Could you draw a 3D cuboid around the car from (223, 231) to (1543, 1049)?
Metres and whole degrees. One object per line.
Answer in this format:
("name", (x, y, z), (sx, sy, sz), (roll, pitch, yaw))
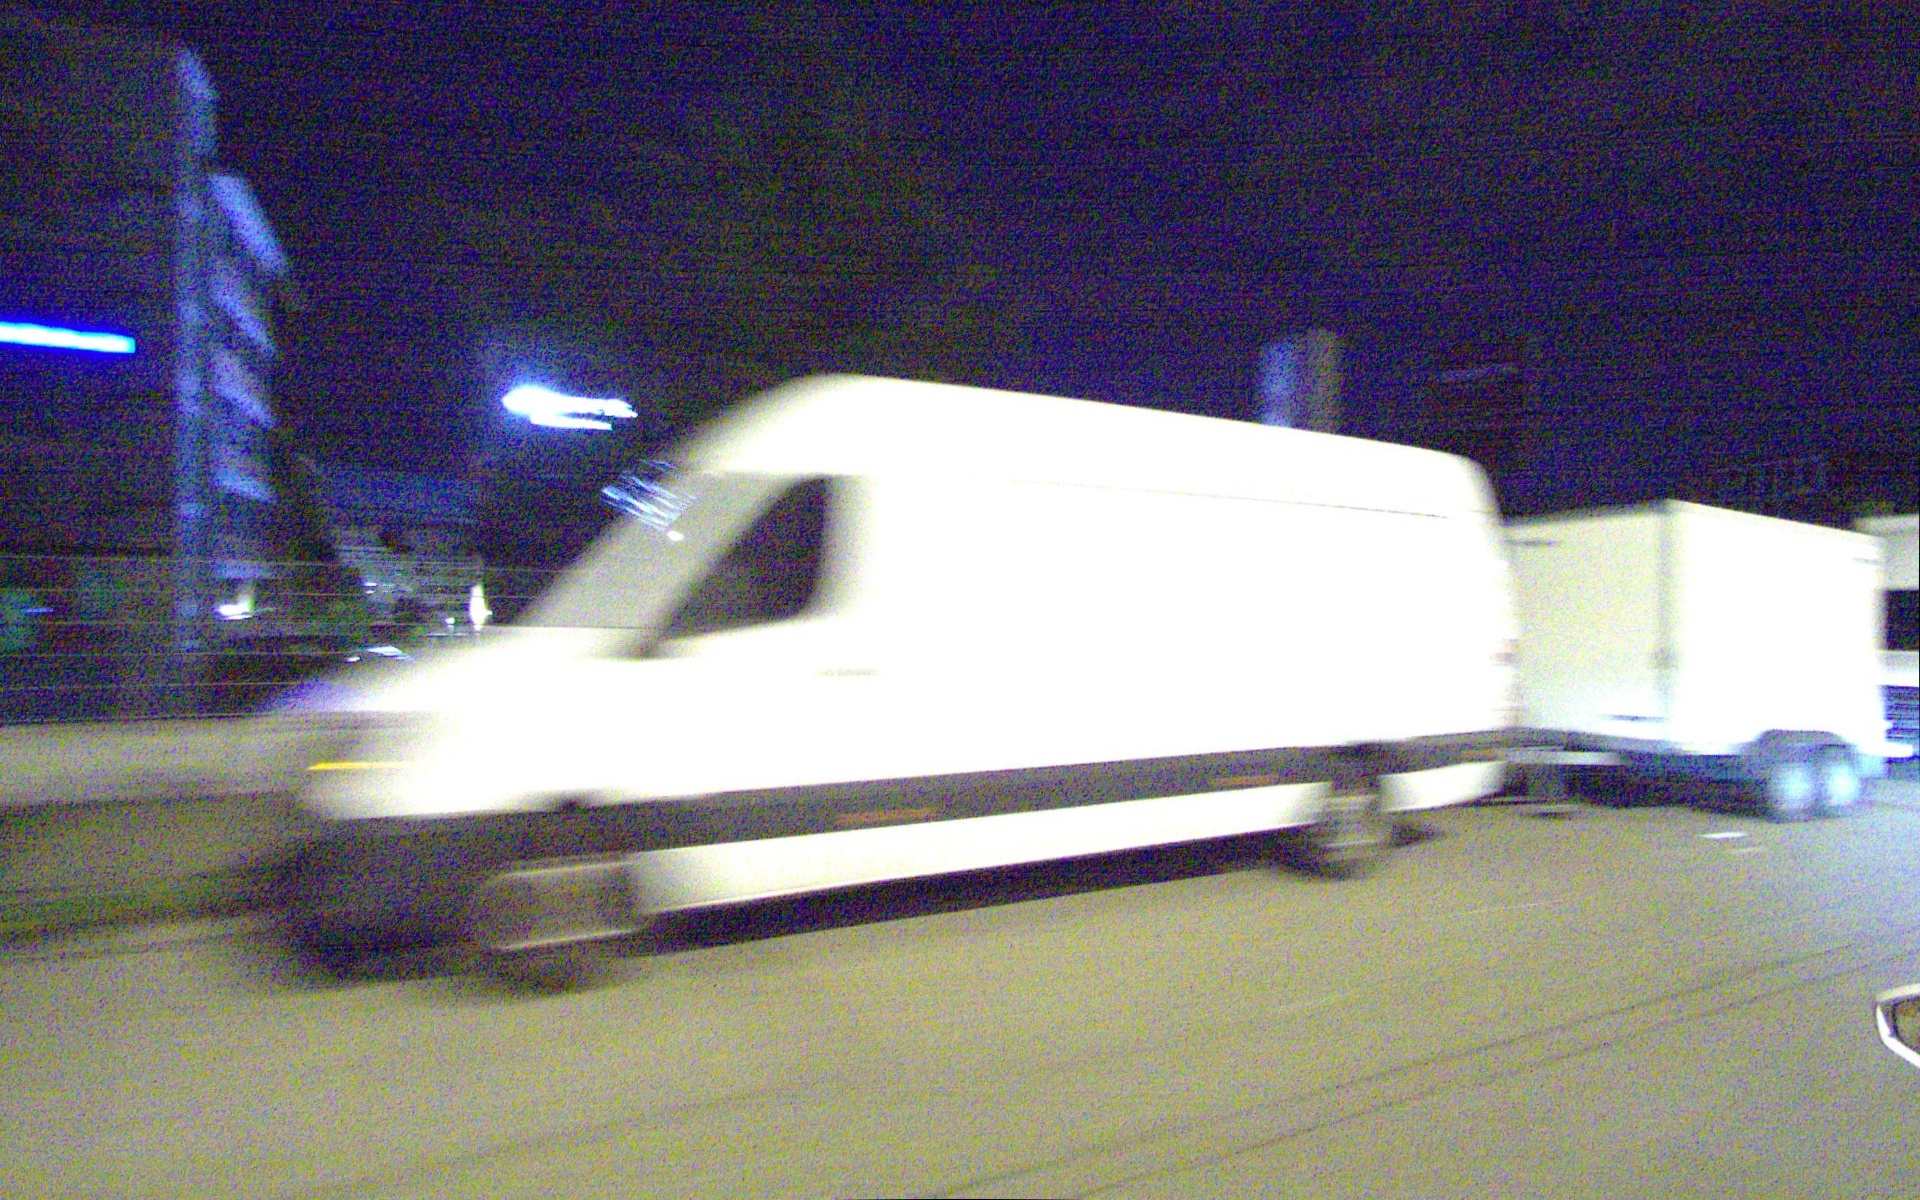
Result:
("car", (0.162, 0.251, 6.029), (7.003, 2.640, 2.509), (2, -2, -28))

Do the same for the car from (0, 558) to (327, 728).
("car", (-14.601, 0.643, 16.885), (6.550, 2.589, 1.999), (2, 1, -2))

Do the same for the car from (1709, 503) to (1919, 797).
("car", (12.558, 0.624, 12.368), (7.109, 2.966, 2.510), (2, -2, -27))

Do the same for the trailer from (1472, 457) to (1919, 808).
("trailer", (6.652, 0.296, 9.017), (3.522, 2.561, 1.987), (2, -2, -27))

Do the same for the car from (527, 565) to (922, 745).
("car", (-3.990, 0.916, 17.940), (6.550, 2.880, 1.999), (2, 1, -2))
